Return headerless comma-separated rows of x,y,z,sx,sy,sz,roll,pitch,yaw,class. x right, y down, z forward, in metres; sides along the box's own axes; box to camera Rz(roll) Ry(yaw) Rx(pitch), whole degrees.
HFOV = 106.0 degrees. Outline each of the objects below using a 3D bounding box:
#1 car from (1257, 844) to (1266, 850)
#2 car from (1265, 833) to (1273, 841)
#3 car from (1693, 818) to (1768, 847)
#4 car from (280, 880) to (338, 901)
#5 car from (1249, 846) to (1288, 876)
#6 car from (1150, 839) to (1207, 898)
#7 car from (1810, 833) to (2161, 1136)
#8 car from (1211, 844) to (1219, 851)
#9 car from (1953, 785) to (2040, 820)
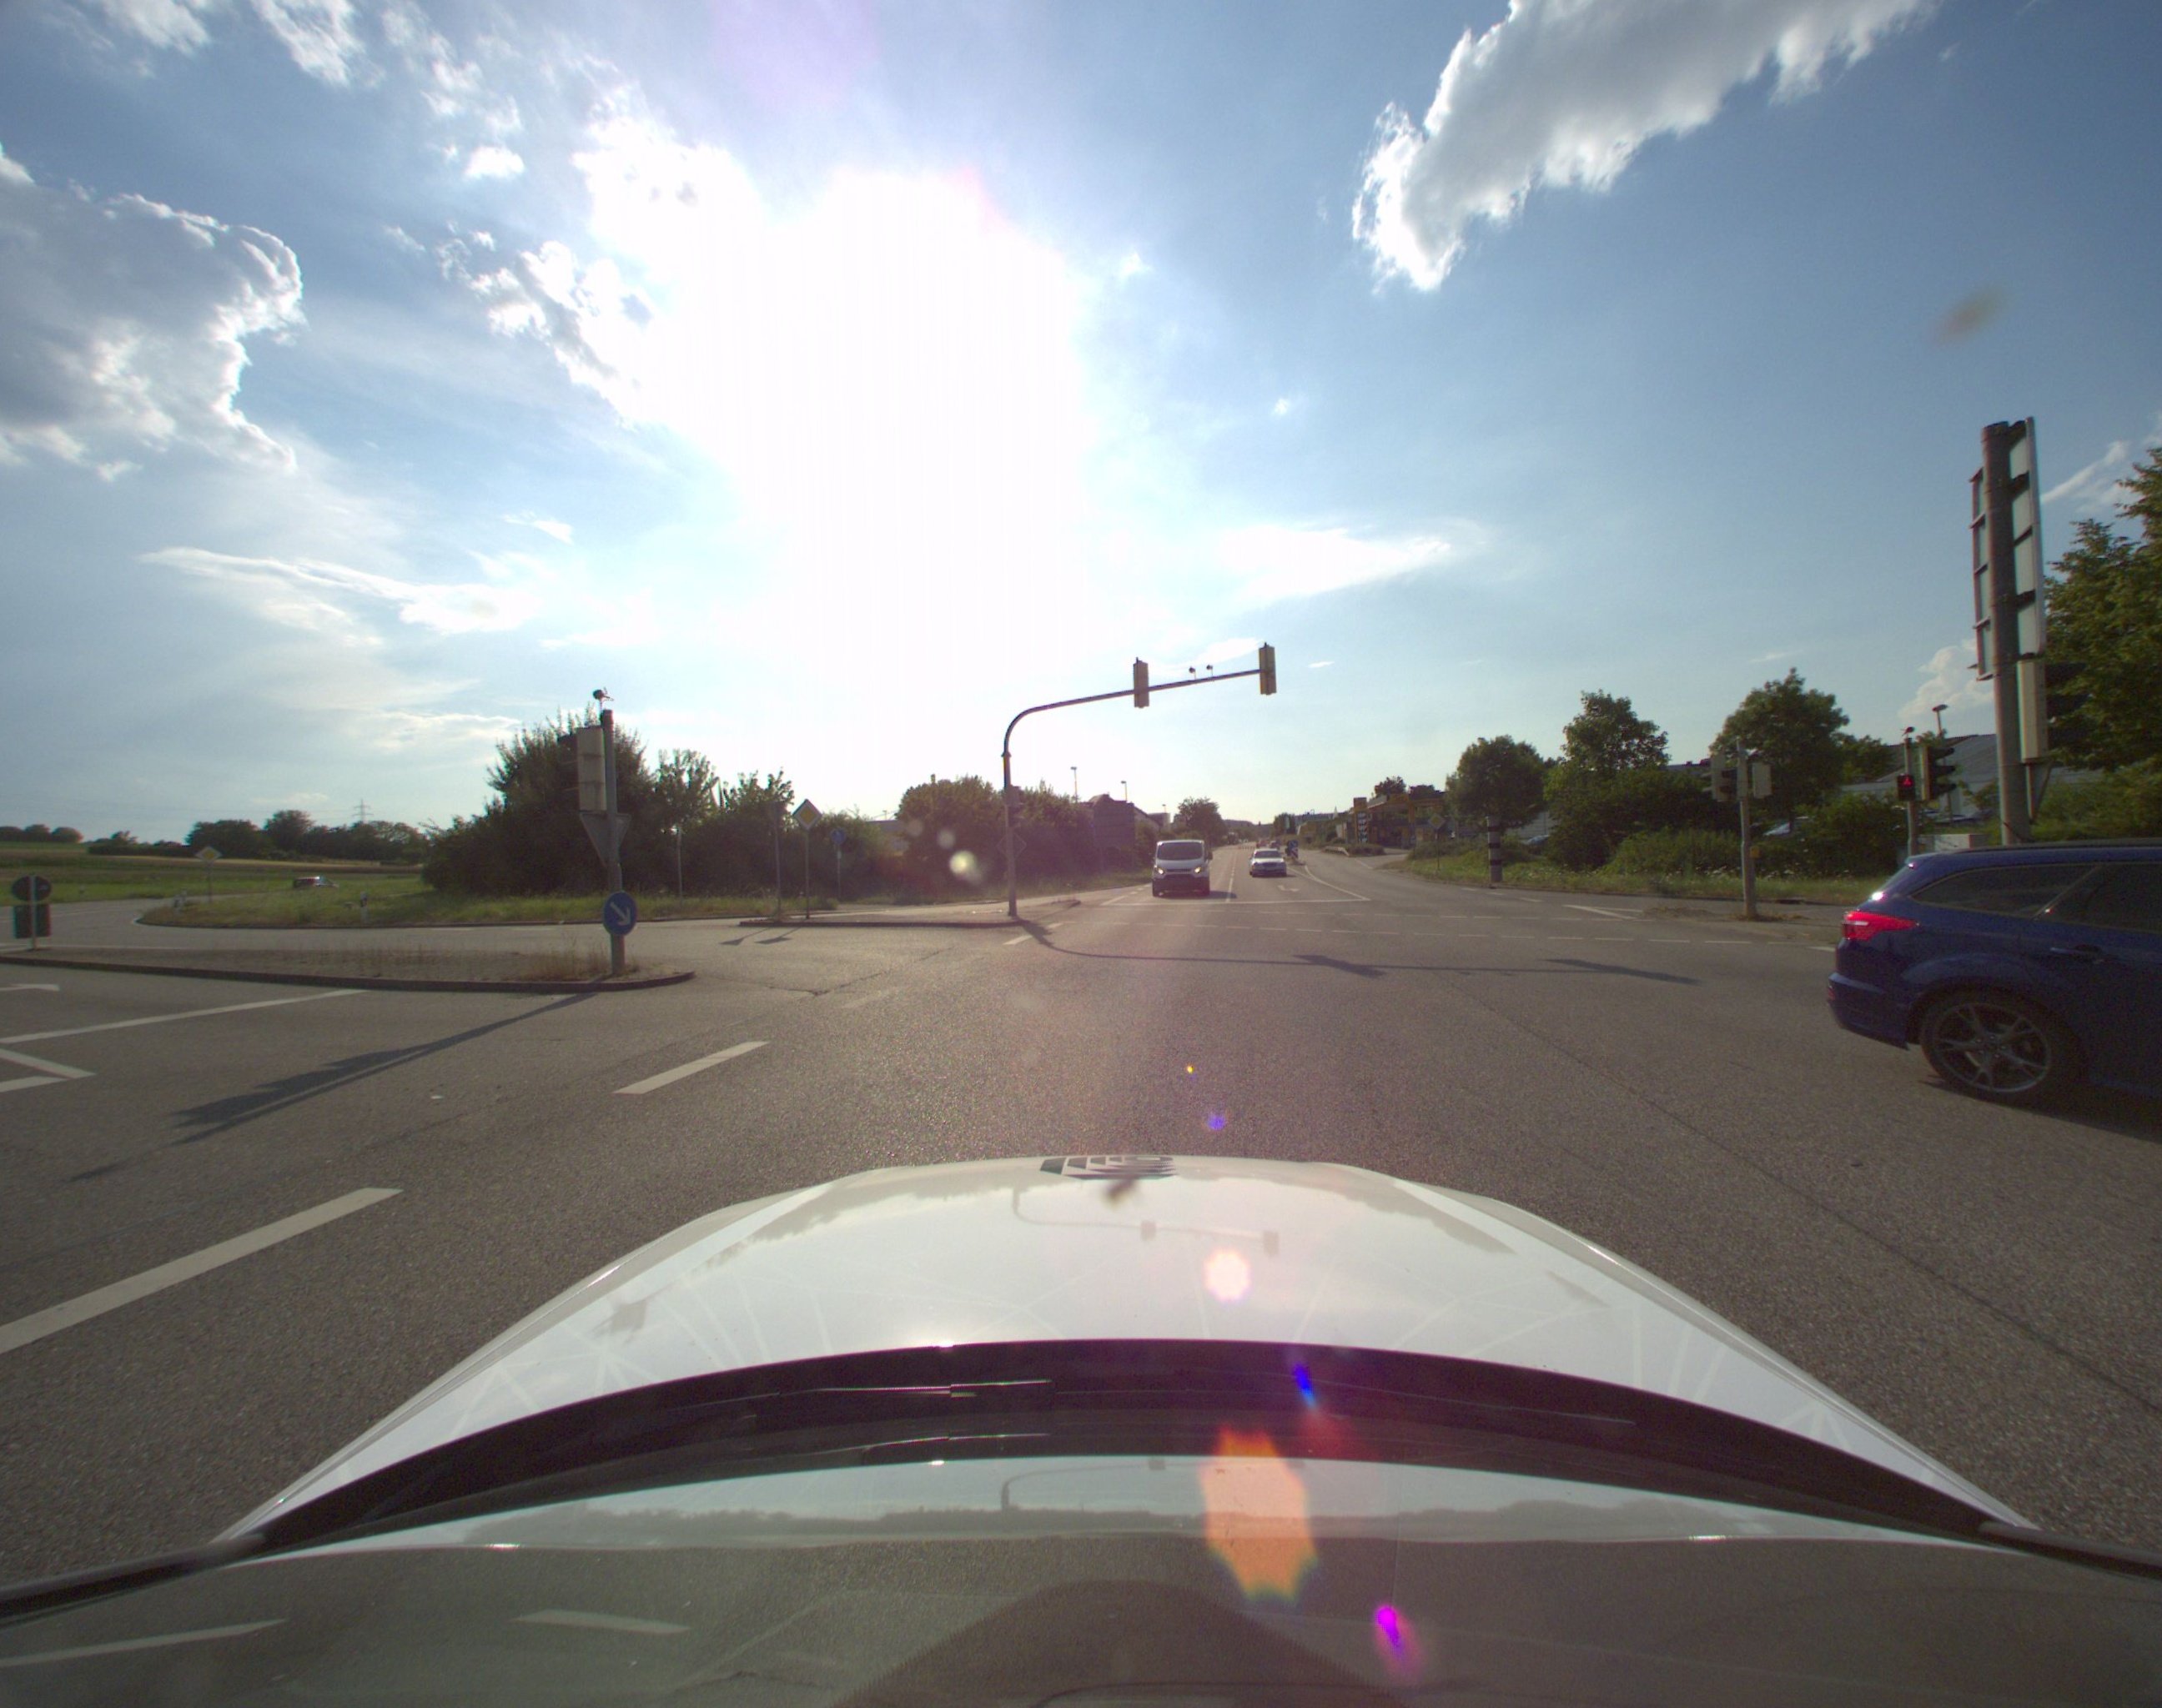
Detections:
41.362,-1.647,186.435,1.731,1.352,3.209,-1,-1,7,car
53.994,-4.855,233.896,1.983,2.014,4.007,-1,-1,7,car
47.675,-1.557,59.803,4.651,2.014,1.957,0,-1,-16,car
-60.125,2.830,63.484,1.727,1.500,3.834,0,-1,-18,car
10.278,0.404,44.923,1.845,1.513,4.967,-1,-1,10,car
3.615,0.443,29.719,1.889,1.947,4.830,-1,1,8,car
6.371,0.629,3.696,1.791,1.497,4.279,0,-1,-16,car
24.968,-1.197,151.702,1.308,1.149,2.476,-1,-1,2,car
59.803,-3.329,53.232,3.997,2.014,2.305,0,-1,-17,car
